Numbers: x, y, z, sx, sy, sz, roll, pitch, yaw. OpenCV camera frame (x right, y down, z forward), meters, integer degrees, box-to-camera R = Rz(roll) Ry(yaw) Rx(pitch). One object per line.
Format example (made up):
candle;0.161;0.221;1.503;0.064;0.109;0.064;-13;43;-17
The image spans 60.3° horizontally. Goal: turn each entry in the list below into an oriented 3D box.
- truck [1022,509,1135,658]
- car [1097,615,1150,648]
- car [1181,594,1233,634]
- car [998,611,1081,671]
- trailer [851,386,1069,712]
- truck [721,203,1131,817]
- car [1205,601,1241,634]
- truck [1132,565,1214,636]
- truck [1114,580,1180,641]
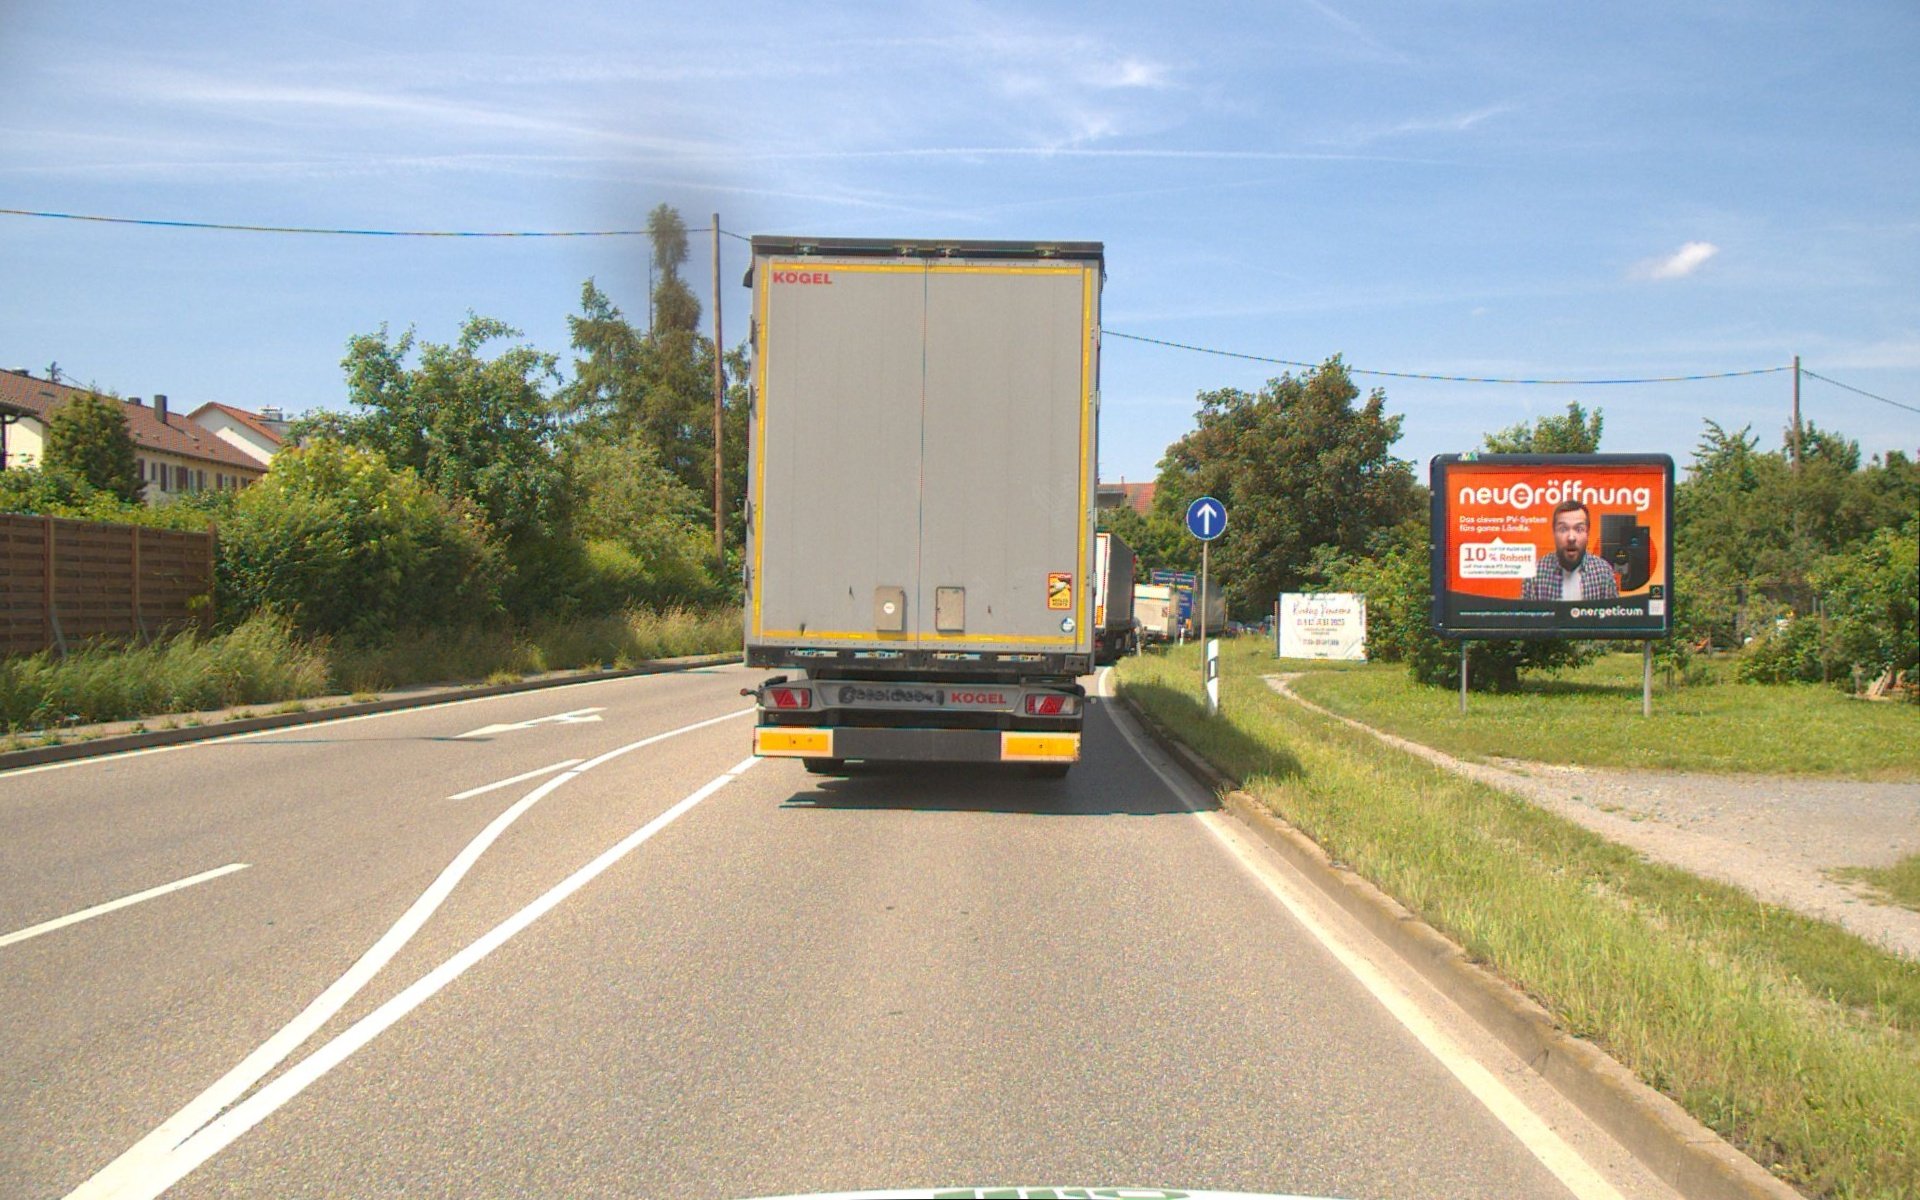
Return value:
truck;4.365;-0.362;57.131;2.701;4.364;16.427;1;-1;8
car;7.283;1.386;73.327;1.951;1.400;4.003;1;-1;11
car;15.407;0.850;102.795;2.478;2.317;6.386;1;0;15
car;2.024;0.997;41.066;1.780;1.370;3.850;1;-1;6
trailer;0.150;-0.678;24.637;2.766;4.183;6.546;1;0;3
truck;-0.093;-0.657;17.162;2.764;4.200;11.445;1;0;1
car;17.359;1.167;109.214;1.951;2.049;4.003;1;-1;15
truck;11.887;0.011;91.538;3.360;3.667;9.361;1;1;14
truck;9.283;0.551;81.506;2.489;2.852;6.036;1;-1;13
